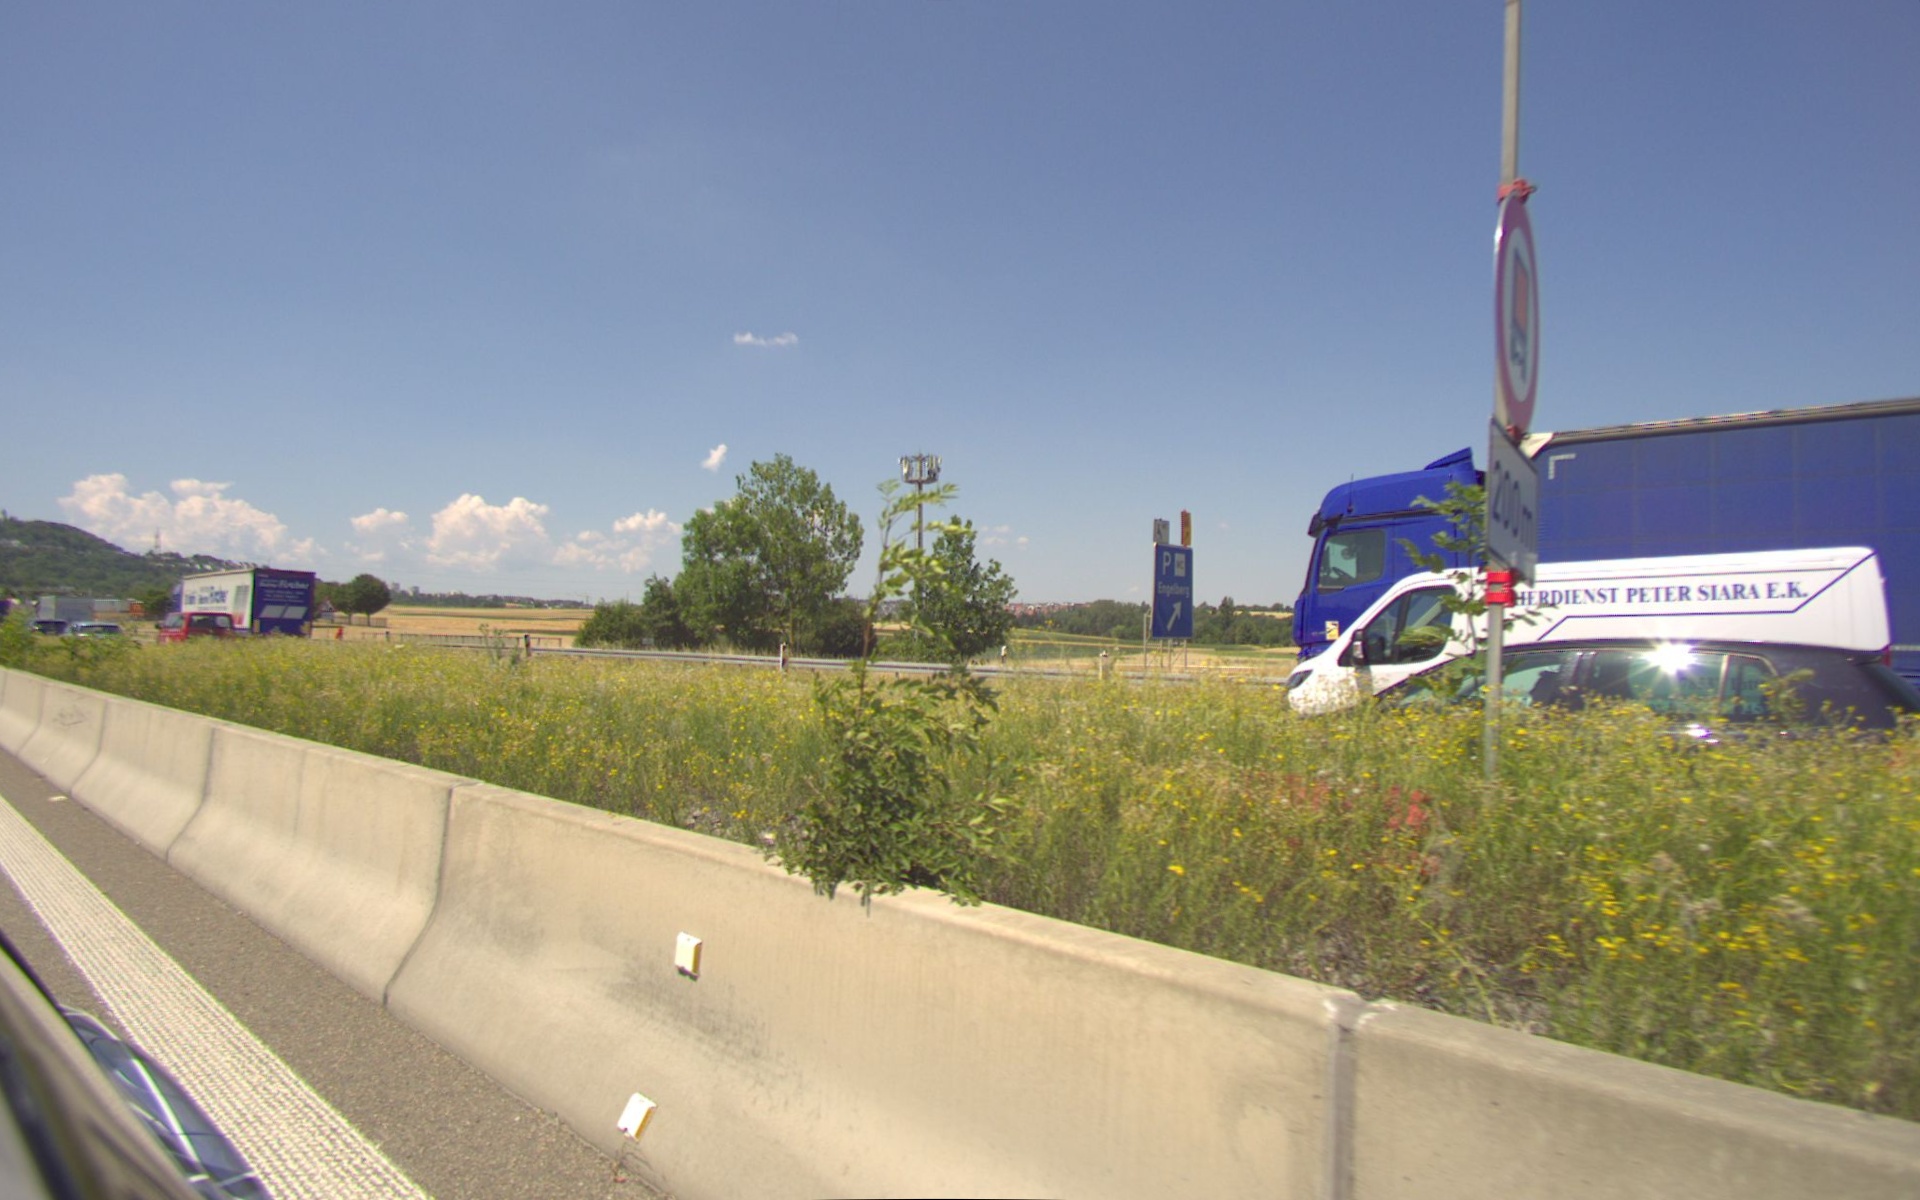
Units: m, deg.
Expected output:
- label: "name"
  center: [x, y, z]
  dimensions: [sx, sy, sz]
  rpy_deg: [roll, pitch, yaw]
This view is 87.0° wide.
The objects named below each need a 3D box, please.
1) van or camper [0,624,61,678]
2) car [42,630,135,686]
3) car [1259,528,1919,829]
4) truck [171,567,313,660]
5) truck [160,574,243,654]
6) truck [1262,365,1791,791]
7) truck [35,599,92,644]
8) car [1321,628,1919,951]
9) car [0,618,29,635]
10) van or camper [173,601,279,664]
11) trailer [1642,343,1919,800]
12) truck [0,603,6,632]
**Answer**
- label: "van or camper"
  center: [-48.237, 2.591, 52.216]
  dimensions: [4.395, 2.649, 2.126]
  rpy_deg: [-1, -2, 41]
- label: "car"
  center: [-33.183, 2.148, 38.489]
  dimensions: [4.792, 1.961, 1.973]
  rpy_deg: [-1, -2, 41]
- label: "car"
  center: [5.820, 0.588, 8.942]
  dimensions: [5.763, 2.029, 2.160]
  rpy_deg: [-1, -3, 43]
- label: "truck"
  center: [-37.494, 0.752, 52.502]
  dimensions: [14.115, 4.271, 2.565]
  rpy_deg: [-1, -4, 41]
- label: "truck"
  center: [-43.008, 0.821, 57.334]
  dimensions: [4.852, 4.271, 2.565]
  rpy_deg: [-1, -4, 41]
- label: "truck"
  center: [7.234, -0.154, 13.324]
  dimensions: [5.583, 4.383, 2.835]
  rpy_deg: [-1, -3, 41]
- label: "truck"
  center: [-78.480, 1.910, 88.531]
  dimensions: [8.785, 3.648, 2.670]
  rpy_deg: [-1, -4, 42]
- label: "car"
  center: [3.965, 0.913, 5.965]
  dimensions: [3.193, 1.480, 1.371]
  rpy_deg: [-1, -2, 40]
- label: "car"
  center: [-102.155, 2.844, 109.314]
  dimensions: [4.078, 1.732, 1.813]
  rpy_deg: [-1, -3, 41]
- label: "van or camper"
  center: [-28.728, 1.263, 39.547]
  dimensions: [5.490, 2.291, 2.072]
  rpy_deg: [-1, -2, 40]
- label: "trailer"
  center: [13.583, -0.311, 7.712]
  dimensions: [13.637, 4.383, 2.853]
  rpy_deg: [-1, -3, 42]
- label: "truck"
  center: [-125.547, 2.265, 130.234]
  dimensions: [9.987, 3.636, 2.944]
  rpy_deg: [-1, -2, 41]
